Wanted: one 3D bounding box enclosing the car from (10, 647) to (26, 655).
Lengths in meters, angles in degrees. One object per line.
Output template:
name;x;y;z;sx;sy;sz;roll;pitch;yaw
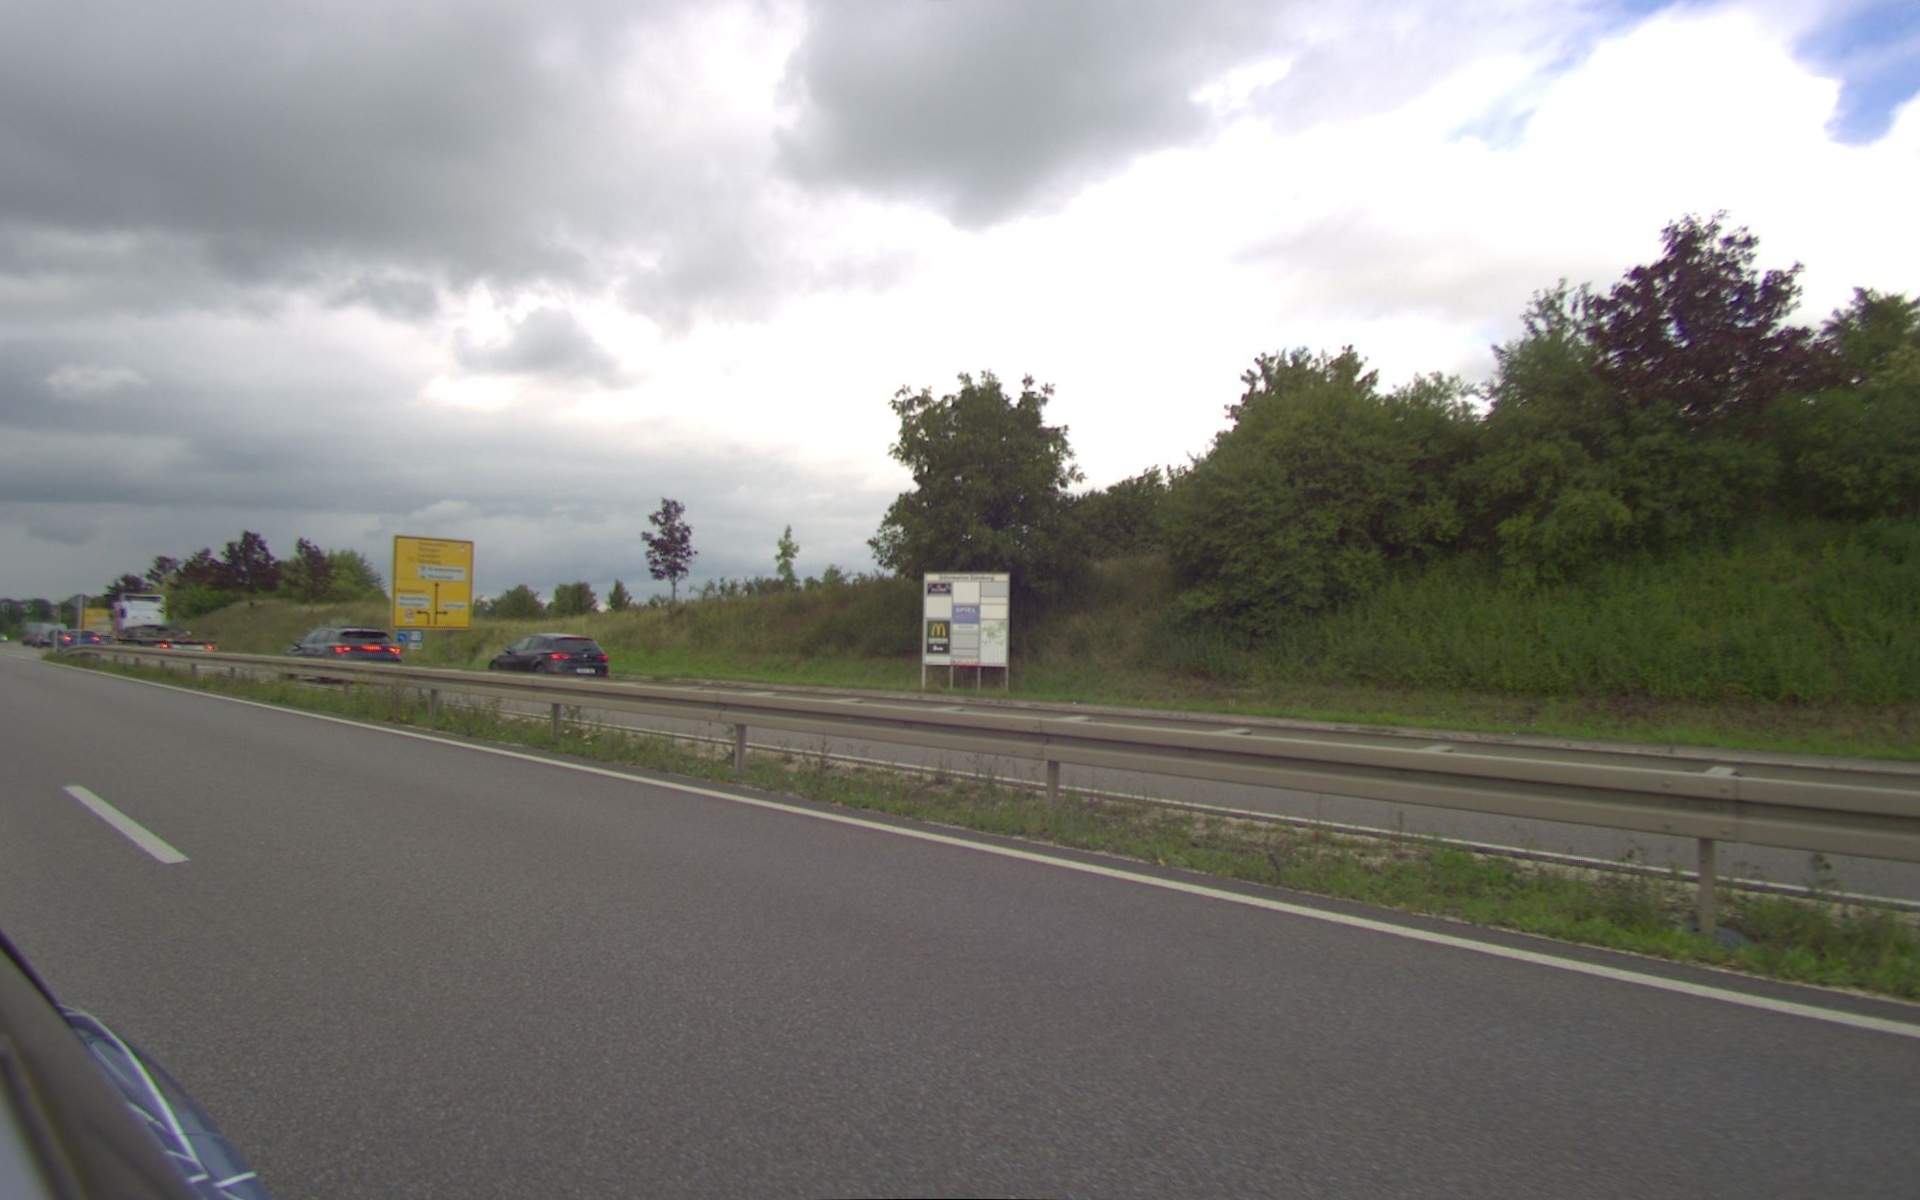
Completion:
car;-161.966;8.752;174.006;4.707;1.416;1.774;-3;-6;45

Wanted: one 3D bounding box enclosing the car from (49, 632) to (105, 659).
car;-51.398;2.646;58.891;4.193;1.531;2.063;-3;-4;43

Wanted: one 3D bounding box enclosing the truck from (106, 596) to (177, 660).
truck;-53.568;1.890;66.213;5.285;4.028;2.772;-3;-4;42

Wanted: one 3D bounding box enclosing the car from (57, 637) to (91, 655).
car;-78.329;4.079;89.466;4.547;1.542;1.714;-3;-5;42

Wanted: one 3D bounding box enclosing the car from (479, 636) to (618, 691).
car;-10.976;1.649;26.829;4.416;1.334;1.673;-3;-4;42

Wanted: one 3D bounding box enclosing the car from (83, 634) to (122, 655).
car;-66.573;3.486;78.511;4.193;1.542;1.714;-3;-5;42

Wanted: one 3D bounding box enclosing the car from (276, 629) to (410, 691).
car;-16.082;1.530;26.292;4.575;1.497;1.735;-3;-4;42

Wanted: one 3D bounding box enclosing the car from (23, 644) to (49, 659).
car;-101.915;5.683;111.604;4.193;1.542;1.714;-3;-5;42

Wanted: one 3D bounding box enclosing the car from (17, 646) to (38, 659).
car;-124.077;6.930;134.623;4.517;1.647;1.774;-3;-6;45

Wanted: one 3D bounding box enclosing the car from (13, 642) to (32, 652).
car;-143.020;7.173;154.357;4.707;1.523;1.774;-3;-6;45

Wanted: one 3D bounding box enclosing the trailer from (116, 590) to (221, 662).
trailer;-47.990;1.670;61.128;12.981;3.977;2.745;-3;-4;42

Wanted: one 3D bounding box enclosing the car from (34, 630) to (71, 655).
car;-90.248;4.243;100.602;5.634;2.458;2.011;-3;-5;42
